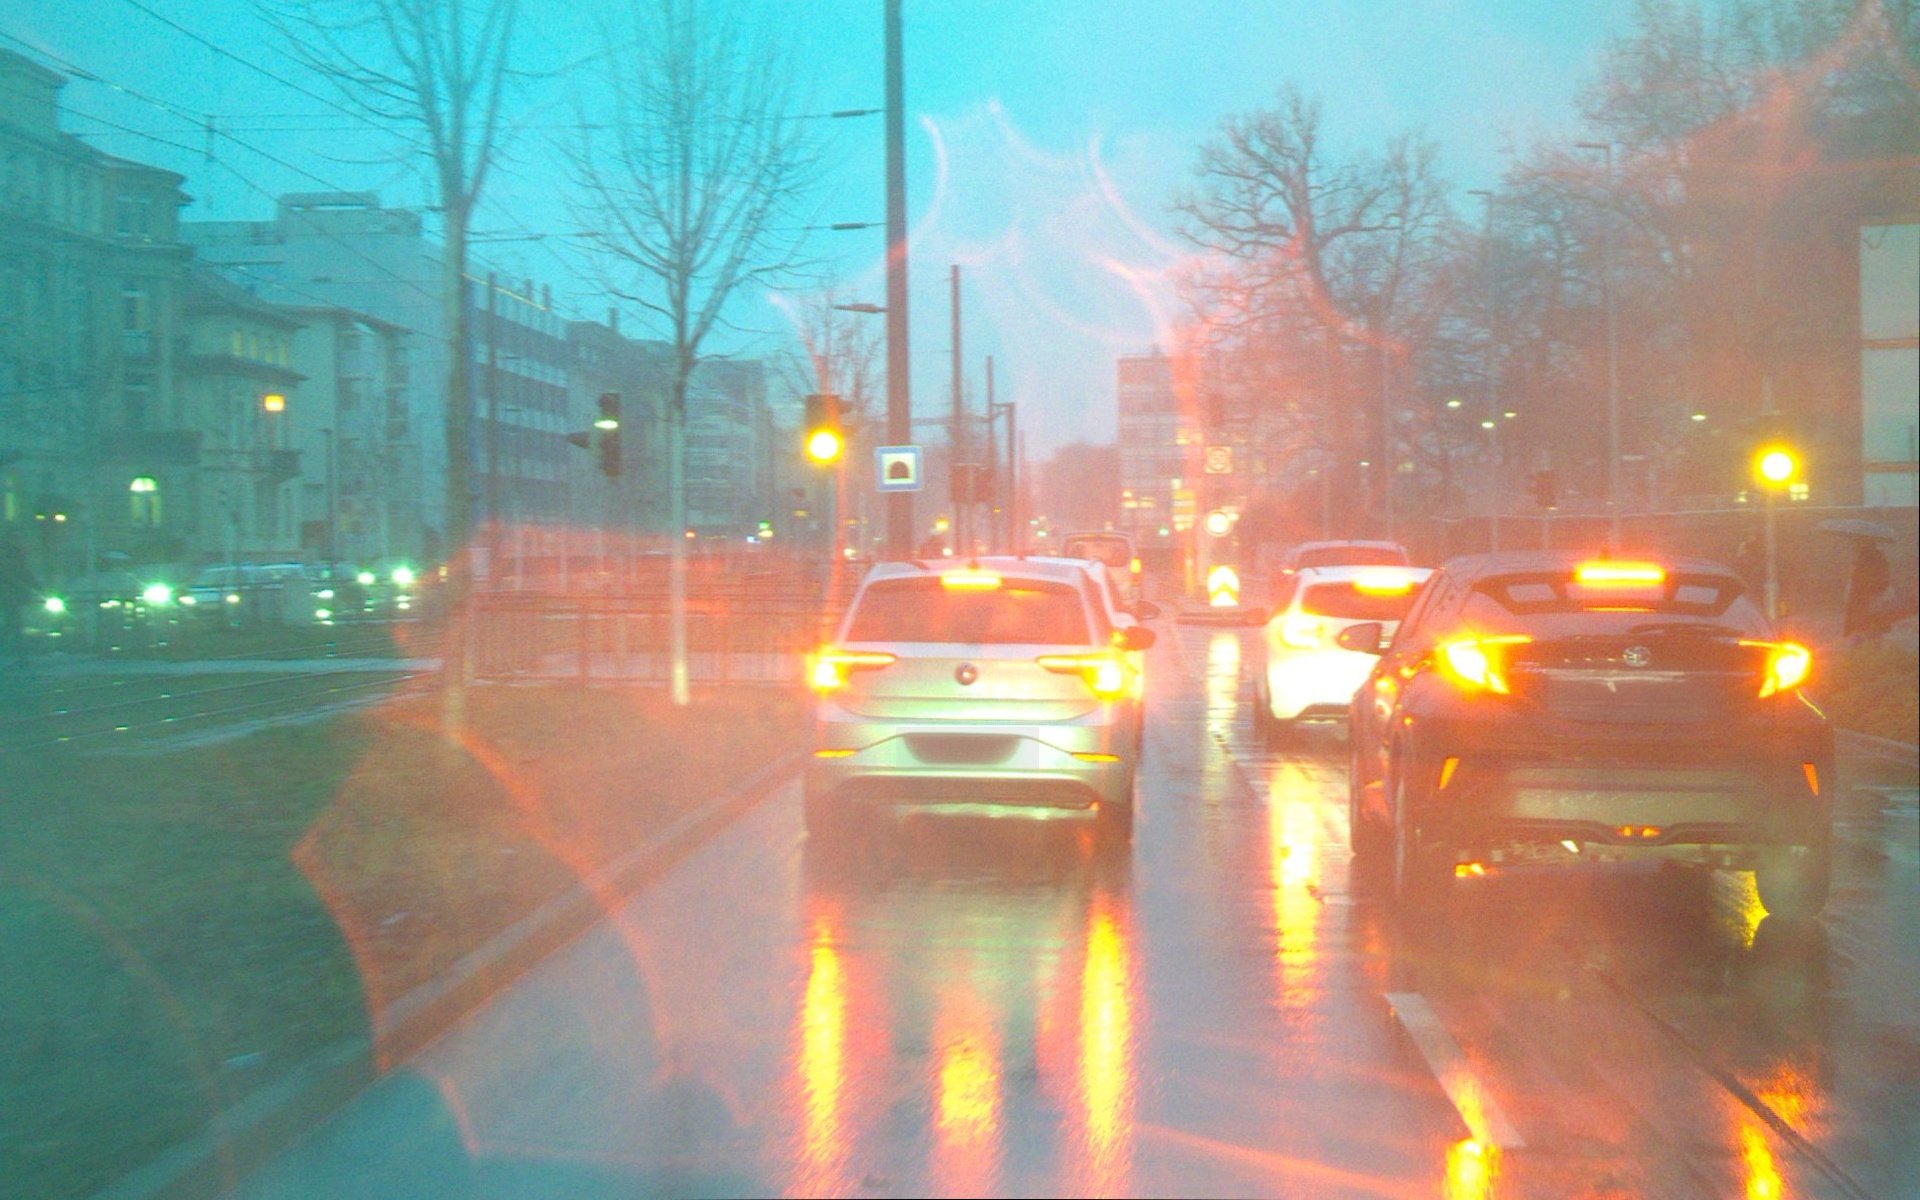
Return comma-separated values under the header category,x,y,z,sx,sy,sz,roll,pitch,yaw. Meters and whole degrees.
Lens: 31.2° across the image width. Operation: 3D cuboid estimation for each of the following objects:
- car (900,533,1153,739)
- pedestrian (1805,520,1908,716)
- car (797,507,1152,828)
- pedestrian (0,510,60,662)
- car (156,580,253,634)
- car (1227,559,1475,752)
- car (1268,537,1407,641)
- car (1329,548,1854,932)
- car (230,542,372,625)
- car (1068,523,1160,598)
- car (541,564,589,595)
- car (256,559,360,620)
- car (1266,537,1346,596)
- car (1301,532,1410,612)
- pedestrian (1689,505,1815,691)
category,x,y,z,sx,sy,sz,roll,pitch,yaw
car,0.579,0.218,26.916,1.799,1.461,4.585,-1,1,3
pedestrian,9.281,0.179,35.628,0.959,2.007,1.007,0,1,11
car,0.085,0.290,18.626,1.693,1.528,4.000,1,1,0
pedestrian,-12.619,-0.193,46.147,1.004,2.007,0.962,-1,1,-13
car,-18.515,0.151,84.367,1.690,1.273,4.149,0,1,-4
car,3.128,0.406,28.112,1.745,1.428,3.731,1,1,3
car,5.376,-0.188,49.319,1.738,1.415,3.703,-1,1,3
car,2.684,0.529,15.438,1.800,1.505,3.895,0,1,3
car,-13.372,-0.345,69.999,1.993,1.597,4.000,1,1,2
car,3.038,-0.798,67.886,1.738,1.415,4.393,-1,1,3
car,-21.360,-1.098,186.088,1.950,1.597,4.000,1,1,3
car,-17.381,-0.296,91.809,1.867,1.572,4.000,0,1,2
car,8.567,-0.840,85.336,1.738,1.415,4.146,-1,1,3
car,7.268,-0.536,63.397,1.738,1.415,3.703,-1,1,3
pedestrian,8.747,-0.032,38.002,0.958,2.007,1.008,-1,1,-20
